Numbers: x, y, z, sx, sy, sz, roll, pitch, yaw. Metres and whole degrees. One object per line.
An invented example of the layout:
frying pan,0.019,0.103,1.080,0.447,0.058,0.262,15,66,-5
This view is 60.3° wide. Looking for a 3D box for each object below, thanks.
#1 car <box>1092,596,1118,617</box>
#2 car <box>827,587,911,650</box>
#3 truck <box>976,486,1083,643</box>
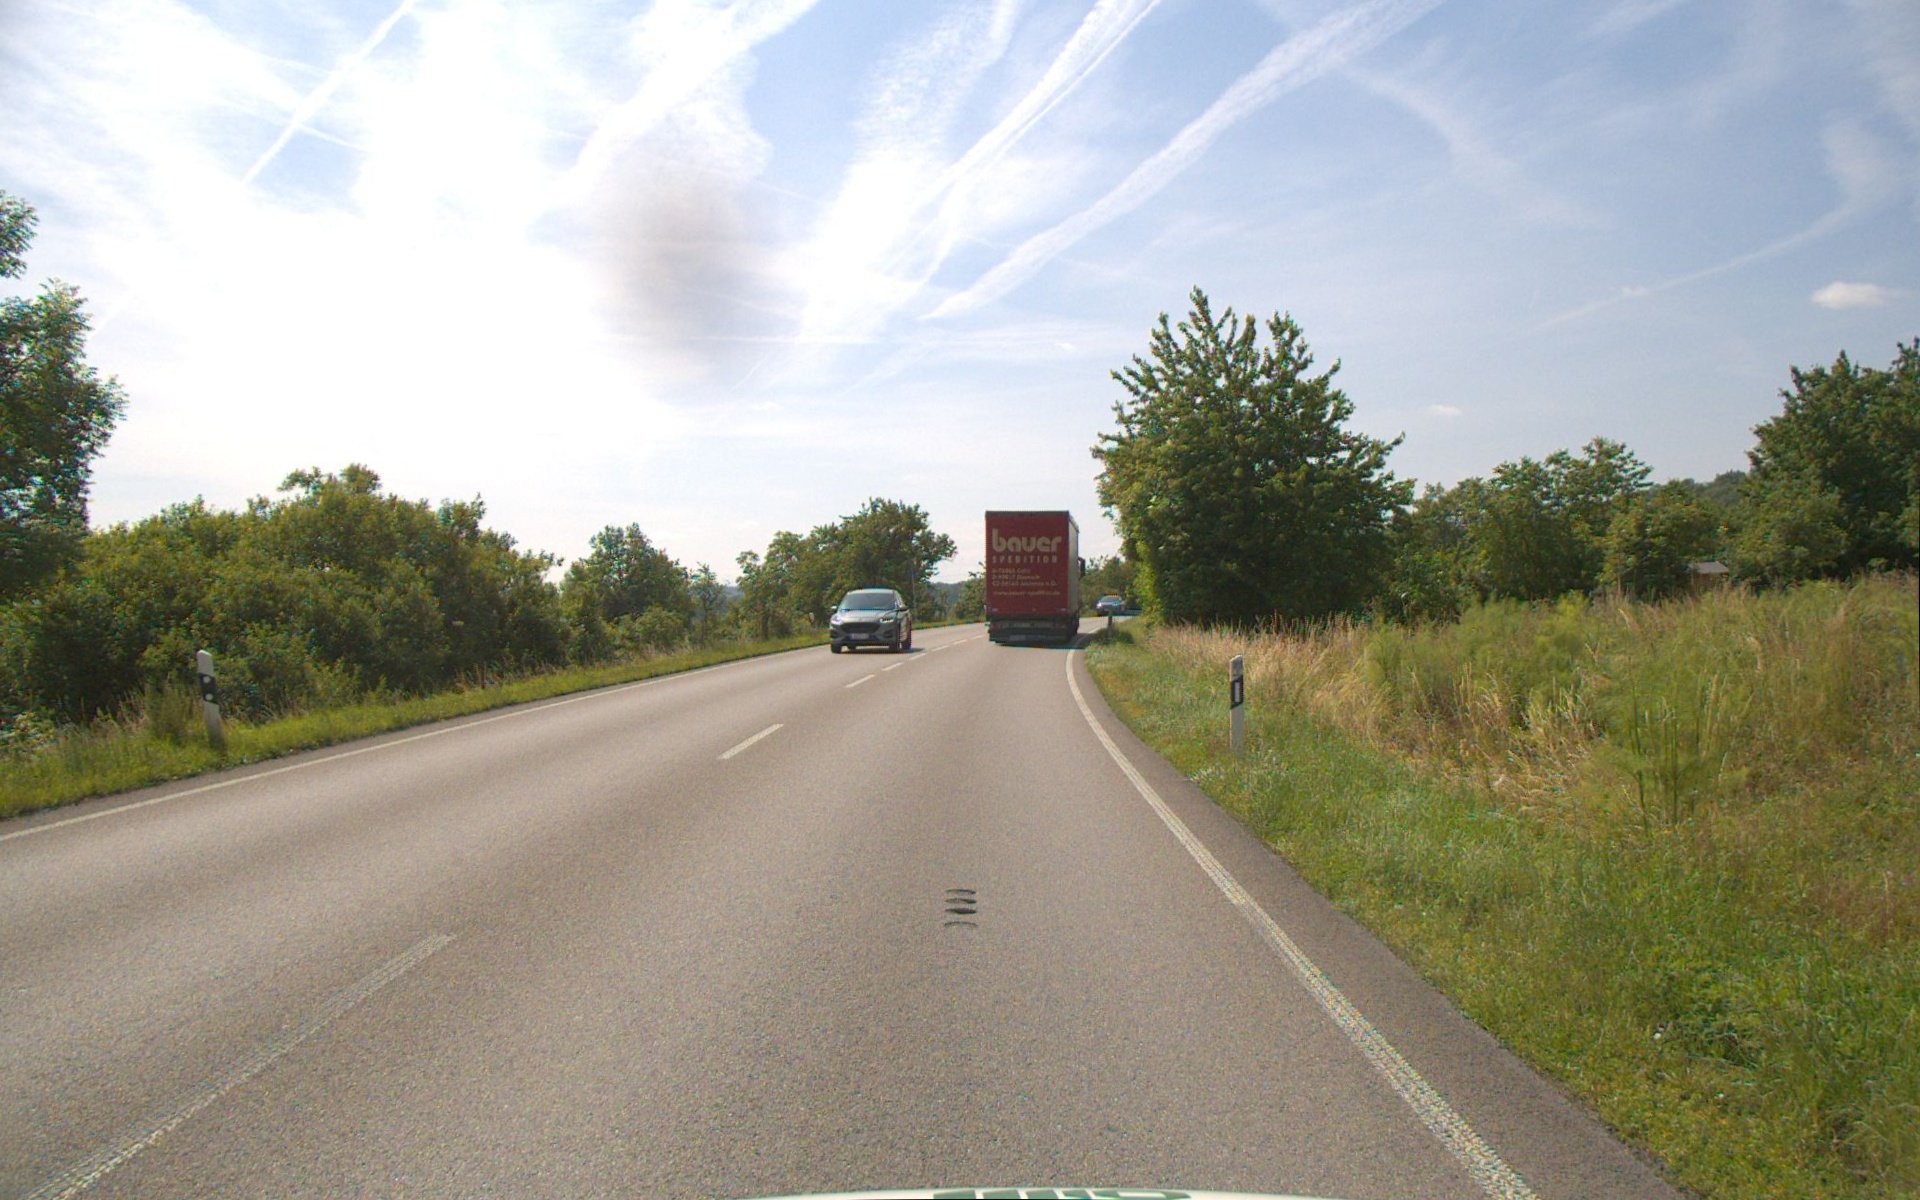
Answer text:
car,11.586,0.471,131.599,1.839,1.621,4.495,-1,0,8
car,-2.425,0.487,45.203,1.916,1.633,4.402,0,0,2
truck,2.504,-0.973,54.728,3.047,4.585,12.173,1,-1,4
